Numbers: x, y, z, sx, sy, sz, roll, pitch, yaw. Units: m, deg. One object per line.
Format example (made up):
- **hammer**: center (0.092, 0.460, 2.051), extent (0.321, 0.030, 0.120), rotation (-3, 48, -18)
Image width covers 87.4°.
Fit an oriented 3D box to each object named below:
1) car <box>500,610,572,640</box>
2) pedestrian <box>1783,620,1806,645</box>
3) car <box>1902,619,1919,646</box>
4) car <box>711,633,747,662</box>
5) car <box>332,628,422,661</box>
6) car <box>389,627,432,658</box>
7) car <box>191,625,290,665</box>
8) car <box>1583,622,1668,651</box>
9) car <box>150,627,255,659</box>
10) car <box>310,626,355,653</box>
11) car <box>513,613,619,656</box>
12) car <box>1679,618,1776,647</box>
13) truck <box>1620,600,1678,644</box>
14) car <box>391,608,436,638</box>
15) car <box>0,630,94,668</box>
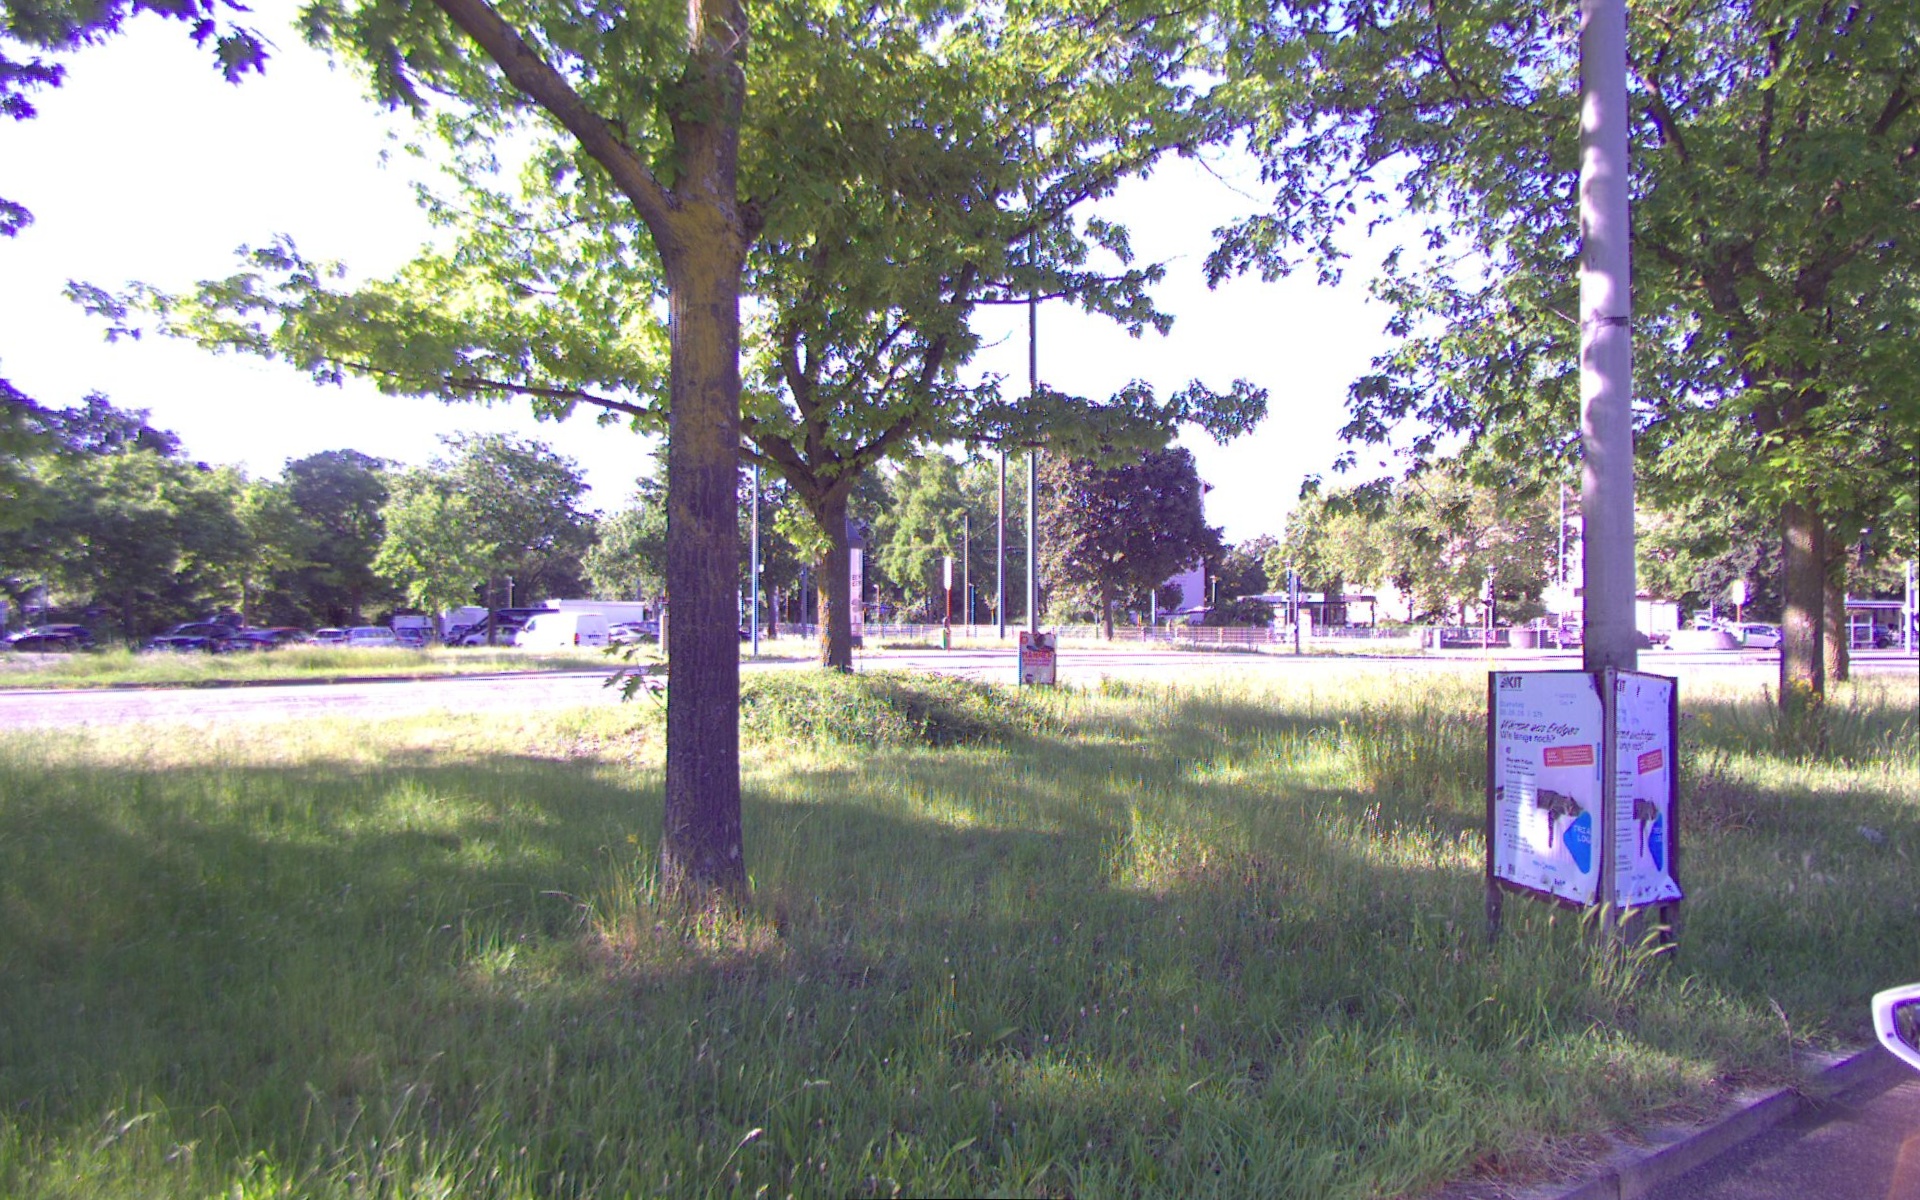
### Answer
- **car**: center (-24.128, 1.411, 57.293), extent (3.698, 1.691, 1.883), rotation (1, -1, -23)
- **pedestrian**: center (53.581, 2.084, 64.519), extent (0.781, 1.629, 0.923), rotation (0, -1, 9)
- **car**: center (71.936, 2.392, 73.402), extent (1.910, 2.040, 4.155), rotation (1, -1, -31)
- **car**: center (-12.029, 2.452, 52.491), extent (1.589, 1.438, 3.073), rotation (0, -1, -8)
- **car**: center (-21.825, 1.632, 37.637), extent (2.769, 1.171, 1.326), rotation (1, -1, -40)
- **car**: center (-26.700, 2.027, 48.782), extent (1.602, 1.438, 3.050), rotation (1, -1, -33)
- **car**: center (-25.232, 1.562, 35.247), extent (2.769, 1.323, 1.326), rotation (1, -1, -40)
- **car**: center (41.419, 2.246, 62.568), extent (3.919, 1.706, 2.001), rotation (0, -1, 9)
- **car**: center (-26.841, 1.502, 35.632), extent (1.315, 1.078, 2.777), rotation (-1, -1, 42)
- **car**: center (-29.293, 1.823, 46.868), extent (1.603, 1.194, 3.047), rotation (1, -1, -35)
- **car**: center (-17.217, 1.473, 43.804), extent (4.670, 1.762, 2.024), rotation (0, -1, 34)
- **car**: center (46.909, 1.961, 61.467), extent (4.233, 1.706, 2.001), rotation (0, -1, 9)
- **truck**: center (46.643, 1.474, 68.092), extent (1.960, 2.842, 4.002), rotation (0, -1, 15)
- **car**: center (-32.486, 1.363, 59.789), extent (1.865, 1.691, 3.733), rotation (1, -1, -22)
- **car**: center (-47.657, 2.495, 51.908), extent (1.966, 1.817, 3.990), rotation (0, -1, 32)
